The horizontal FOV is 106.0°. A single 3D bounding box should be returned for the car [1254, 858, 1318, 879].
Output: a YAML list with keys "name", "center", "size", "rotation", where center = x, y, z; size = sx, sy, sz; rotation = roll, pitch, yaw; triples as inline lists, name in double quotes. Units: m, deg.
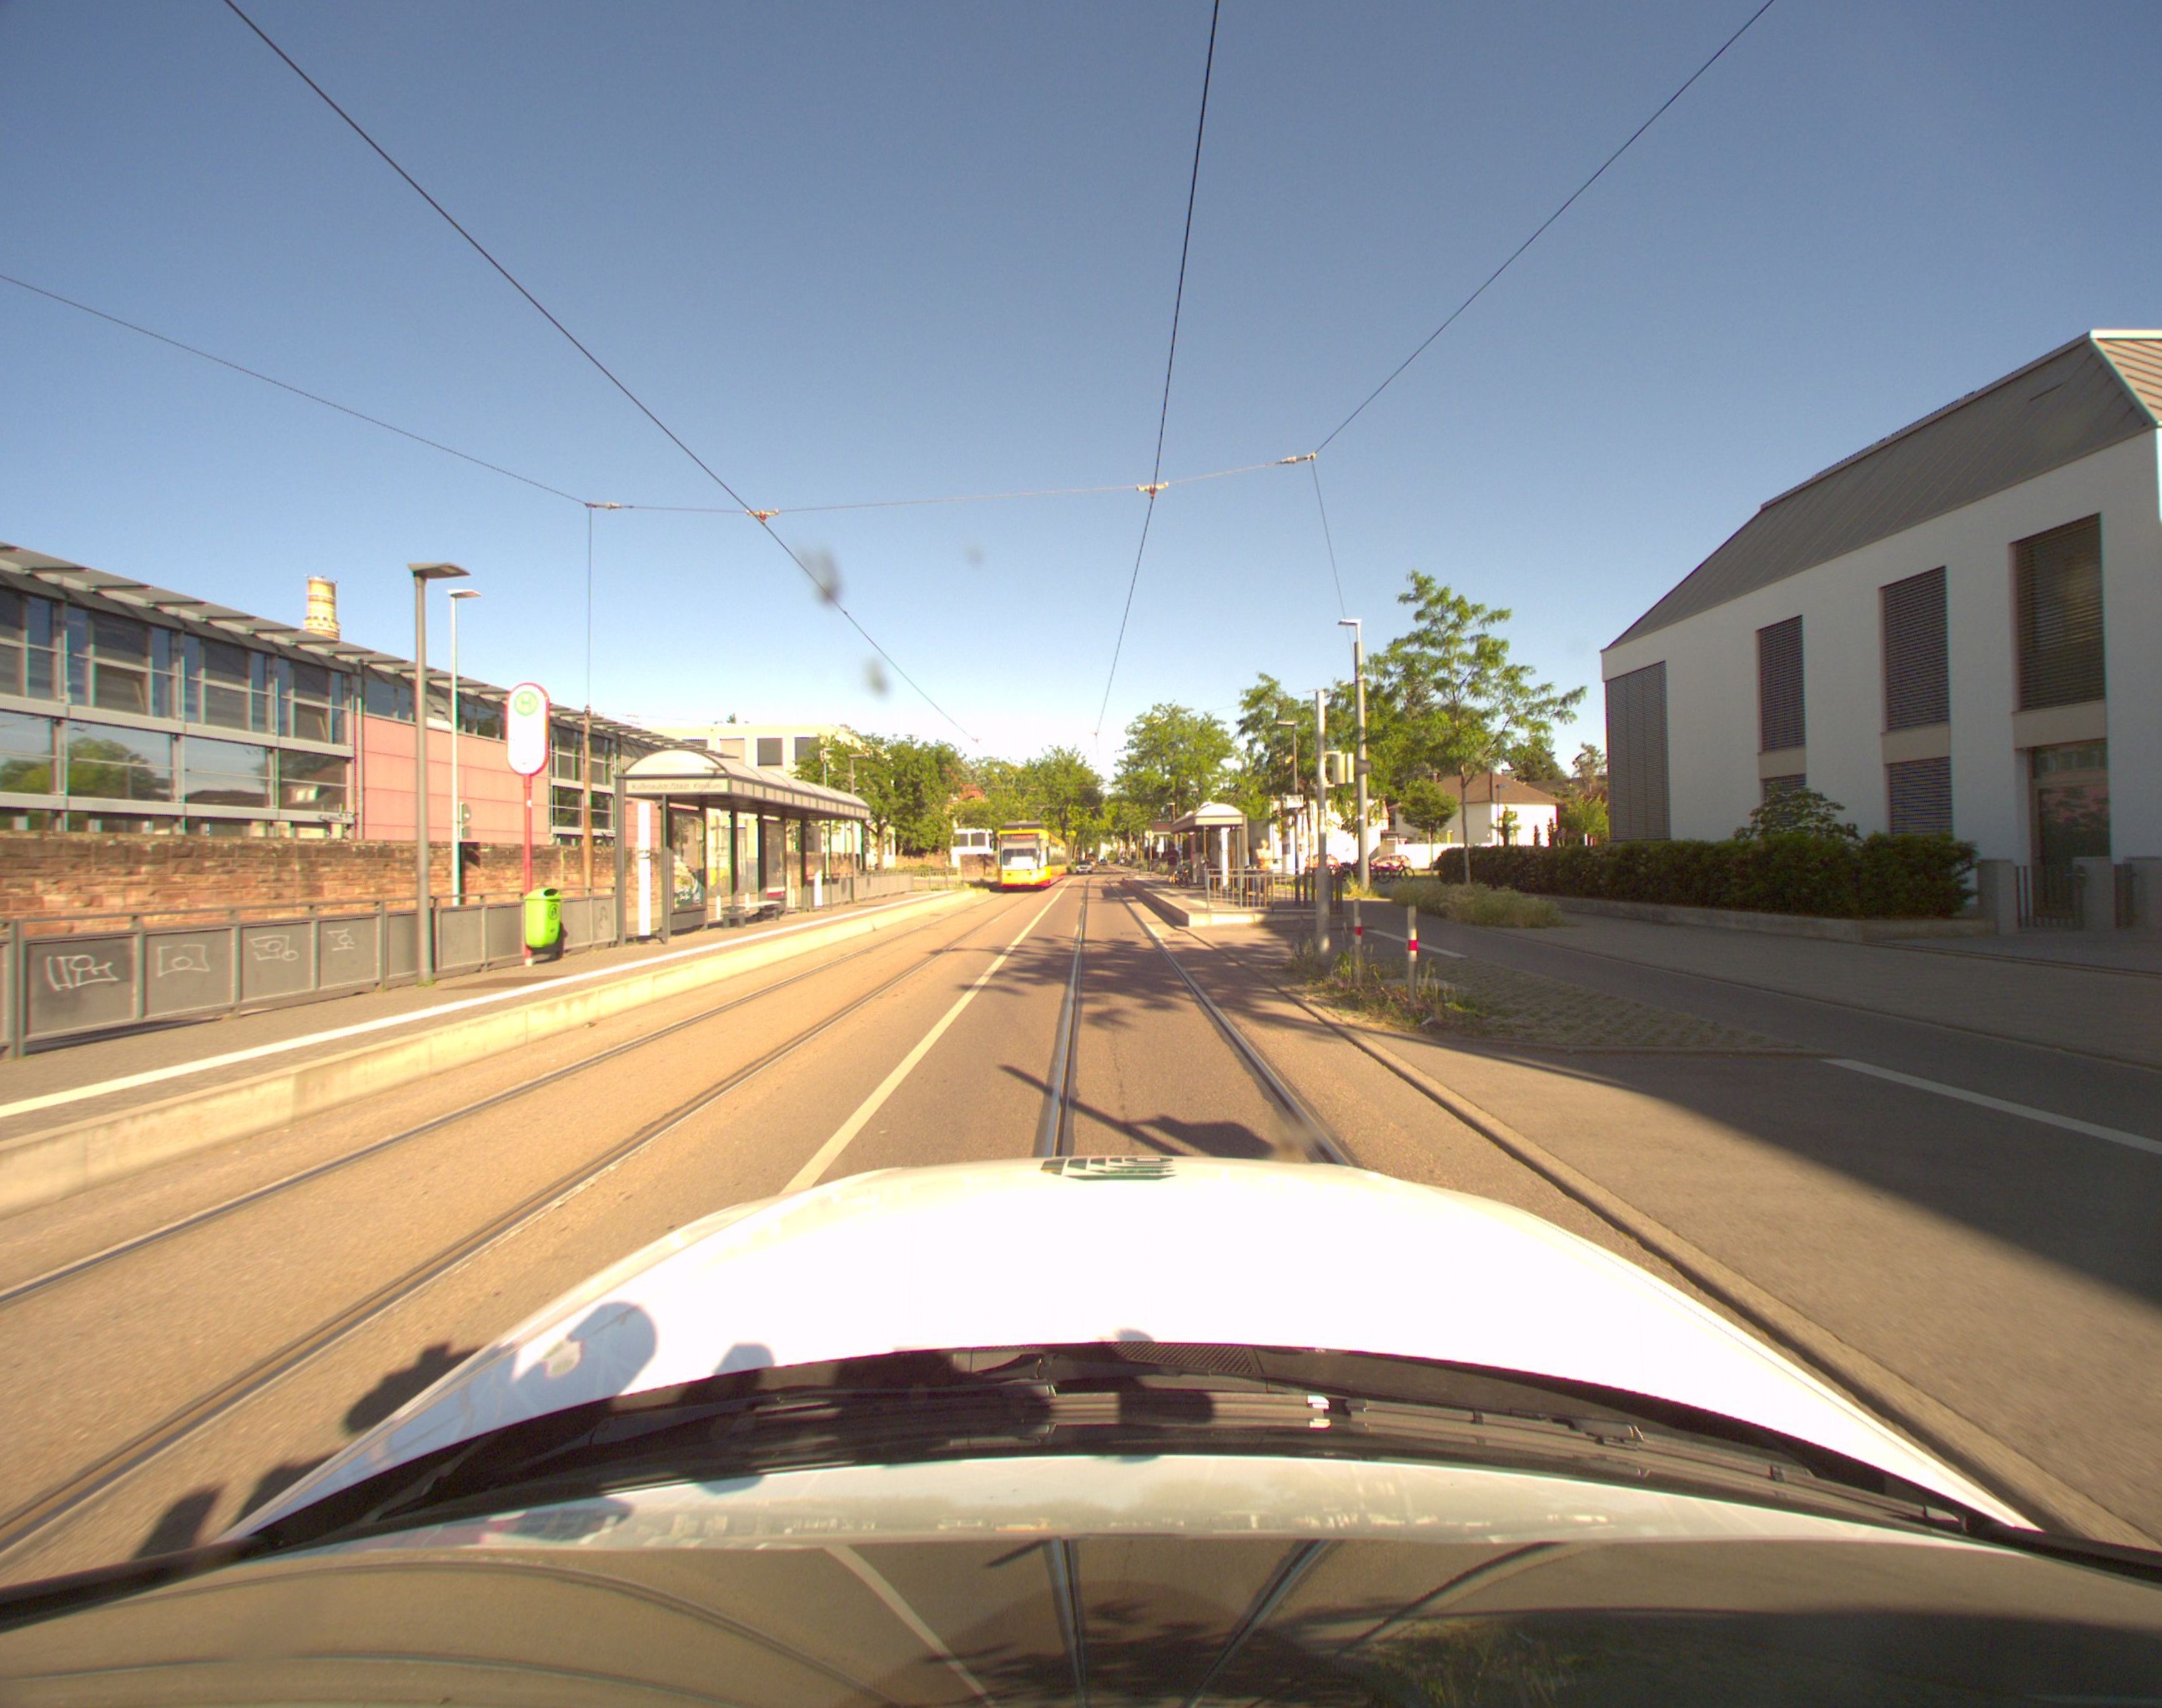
- name: "car"
  center: [15.733, 1.148, 62.695]
  size: [4.580, 1.466, 1.985]
  rotation: [-1, -2, 6]

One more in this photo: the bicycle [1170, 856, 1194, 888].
- name: "bicycle"
  center: [4.017, 0.719, 32.467]
  size: [0.618, 1.229, 1.964]
  rotation: [0, -1, -3]

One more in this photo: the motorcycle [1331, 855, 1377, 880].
- name: "motorcycle"
  center: [14.238, 0.702, 42.545]
  size: [2.075, 1.274, 0.860]
  rotation: [-1, -1, -6]

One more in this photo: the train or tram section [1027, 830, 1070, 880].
- name: "train or tram section"
  center: [-2.371, 0.085, 61.271]
  size: [2.794, 3.460, 6.668]
  rotation: [-1, 0, 1]

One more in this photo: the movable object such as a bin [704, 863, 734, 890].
- name: "movable object such as a bin"
  center: [-17.570, 1.078, 39.538]
  size: [0.878, 1.285, 1.309]
  rotation: [-1, -1, -1]

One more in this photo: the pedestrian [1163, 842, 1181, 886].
- name: "pedestrian"
  center: [3.864, 0.419, 34.737]
  size: [0.708, 1.853, 0.729]
  rotation: [0, -1, 2]

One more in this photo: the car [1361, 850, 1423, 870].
- name: "car"
  center: [24.841, 0.466, 65.139]
  size: [4.157, 1.508, 1.978]
  rotation: [-1, -1, -6]

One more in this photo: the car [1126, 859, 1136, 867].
- name: "car"
  center: [10.337, 1.841, 168.491]
  size: [1.779, 1.448, 4.299]
  rotation: [-4, 0, -1]

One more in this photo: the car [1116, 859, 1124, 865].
- name: "car"
  center: [11.204, 2.279, 231.881]
  size: [1.996, 1.675, 4.392]
  rotation: [-3, -1, 0]

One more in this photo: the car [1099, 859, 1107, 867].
- name: "car"
  center: [5.432, 2.172, 198.330]
  size: [1.860, 1.675, 4.172]
  rotation: [-2, -1, 0]

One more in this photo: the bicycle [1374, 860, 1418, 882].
- name: "bicycle"
  center: [14.541, 0.794, 37.608]
  size: [1.895, 0.979, 0.490]
  rotation: [-1, -1, -6]

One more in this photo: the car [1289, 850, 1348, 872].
- name: "car"
  center: [18.912, 0.558, 64.905]
  size: [4.151, 1.642, 1.981]
  rotation: [-1, -1, -1]

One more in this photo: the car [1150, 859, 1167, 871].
- name: "car"
  center: [9.856, 1.358, 103.715]
  size: [1.742, 1.495, 4.443]
  rotation: [-2, 0, 0]

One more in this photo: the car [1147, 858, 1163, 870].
- name: "car"
  center: [9.947, 1.377, 109.448]
  size: [1.742, 1.495, 3.996]
  rotation: [-2, 0, 0]

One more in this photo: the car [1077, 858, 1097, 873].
- name: "car"
  center: [0.714, 1.280, 91.115]
  size: [1.756, 1.663, 4.216]
  rotation: [-2, -1, 6]

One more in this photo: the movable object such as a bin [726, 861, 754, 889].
- name: "movable object such as a bin"
  center: [-18.078, 1.096, 43.208]
  size: [0.878, 1.447, 1.309]
  rotation: [-1, -1, -1]

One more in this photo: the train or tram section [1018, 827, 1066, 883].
- name: "train or tram section"
  center: [-2.505, 0.068, 54.618]
  size: [2.794, 3.460, 6.668]
  rotation: [-1, 0, 1]

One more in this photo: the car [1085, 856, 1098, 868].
- name: "car"
  center: [1.808, 1.399, 137.924]
  size: [1.988, 1.966, 4.930]
  rotation: [-1, -1, -2]

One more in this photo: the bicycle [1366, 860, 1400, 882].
- name: "bicycle"
  center: [14.491, 0.816, 39.053]
  size: [1.468, 0.979, 0.415]
  rotation: [-1, -1, -6]

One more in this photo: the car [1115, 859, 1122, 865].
- name: "car"
  center: [11.570, 2.341, 249.290]
  size: [1.994, 1.675, 4.397]
  rotation: [-3, -1, 4]

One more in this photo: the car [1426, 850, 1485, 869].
- name: "car"
  center: [30.492, 0.447, 66.341]
  size: [4.172, 1.508, 1.971]
  rotation: [-1, -1, -17]

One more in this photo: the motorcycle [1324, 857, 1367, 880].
- name: "motorcycle"
  center: [14.331, 0.794, 44.137]
  size: [1.996, 1.158, 0.860]
  rotation: [-1, -1, -6]

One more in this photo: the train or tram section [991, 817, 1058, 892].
- name: "train or tram section"
  center: [-2.712, 0.019, 41.262]
  size: [2.794, 3.460, 6.668]
  rotation: [-1, 0, 1]

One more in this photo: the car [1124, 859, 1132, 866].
- name: "car"
  center: [10.244, 1.808, 178.194]
  size: [1.622, 1.397, 3.645]
  rotation: [-4, 0, 0]

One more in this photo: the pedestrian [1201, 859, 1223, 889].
- name: "pedestrian"
  center: [5.006, 0.761, 31.123]
  size: [0.735, 1.117, 0.658]
  rotation: [0, -1, 0]

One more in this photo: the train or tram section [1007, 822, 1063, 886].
- name: "train or tram section"
  center: [-2.608, 0.036, 47.946]
  size: [2.794, 3.460, 6.668]
  rotation: [-1, 0, 1]

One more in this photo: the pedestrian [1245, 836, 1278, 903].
- name: "pedestrian"
  center: [4.625, 0.396, 20.892]
  size: [0.669, 1.704, 0.690]
  rotation: [0, -1, -1]

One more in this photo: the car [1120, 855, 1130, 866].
- name: "car"
  center: [10.772, 1.615, 199.641]
  size: [2.238, 2.654, 5.585]
  rotation: [-1, -1, 0]
